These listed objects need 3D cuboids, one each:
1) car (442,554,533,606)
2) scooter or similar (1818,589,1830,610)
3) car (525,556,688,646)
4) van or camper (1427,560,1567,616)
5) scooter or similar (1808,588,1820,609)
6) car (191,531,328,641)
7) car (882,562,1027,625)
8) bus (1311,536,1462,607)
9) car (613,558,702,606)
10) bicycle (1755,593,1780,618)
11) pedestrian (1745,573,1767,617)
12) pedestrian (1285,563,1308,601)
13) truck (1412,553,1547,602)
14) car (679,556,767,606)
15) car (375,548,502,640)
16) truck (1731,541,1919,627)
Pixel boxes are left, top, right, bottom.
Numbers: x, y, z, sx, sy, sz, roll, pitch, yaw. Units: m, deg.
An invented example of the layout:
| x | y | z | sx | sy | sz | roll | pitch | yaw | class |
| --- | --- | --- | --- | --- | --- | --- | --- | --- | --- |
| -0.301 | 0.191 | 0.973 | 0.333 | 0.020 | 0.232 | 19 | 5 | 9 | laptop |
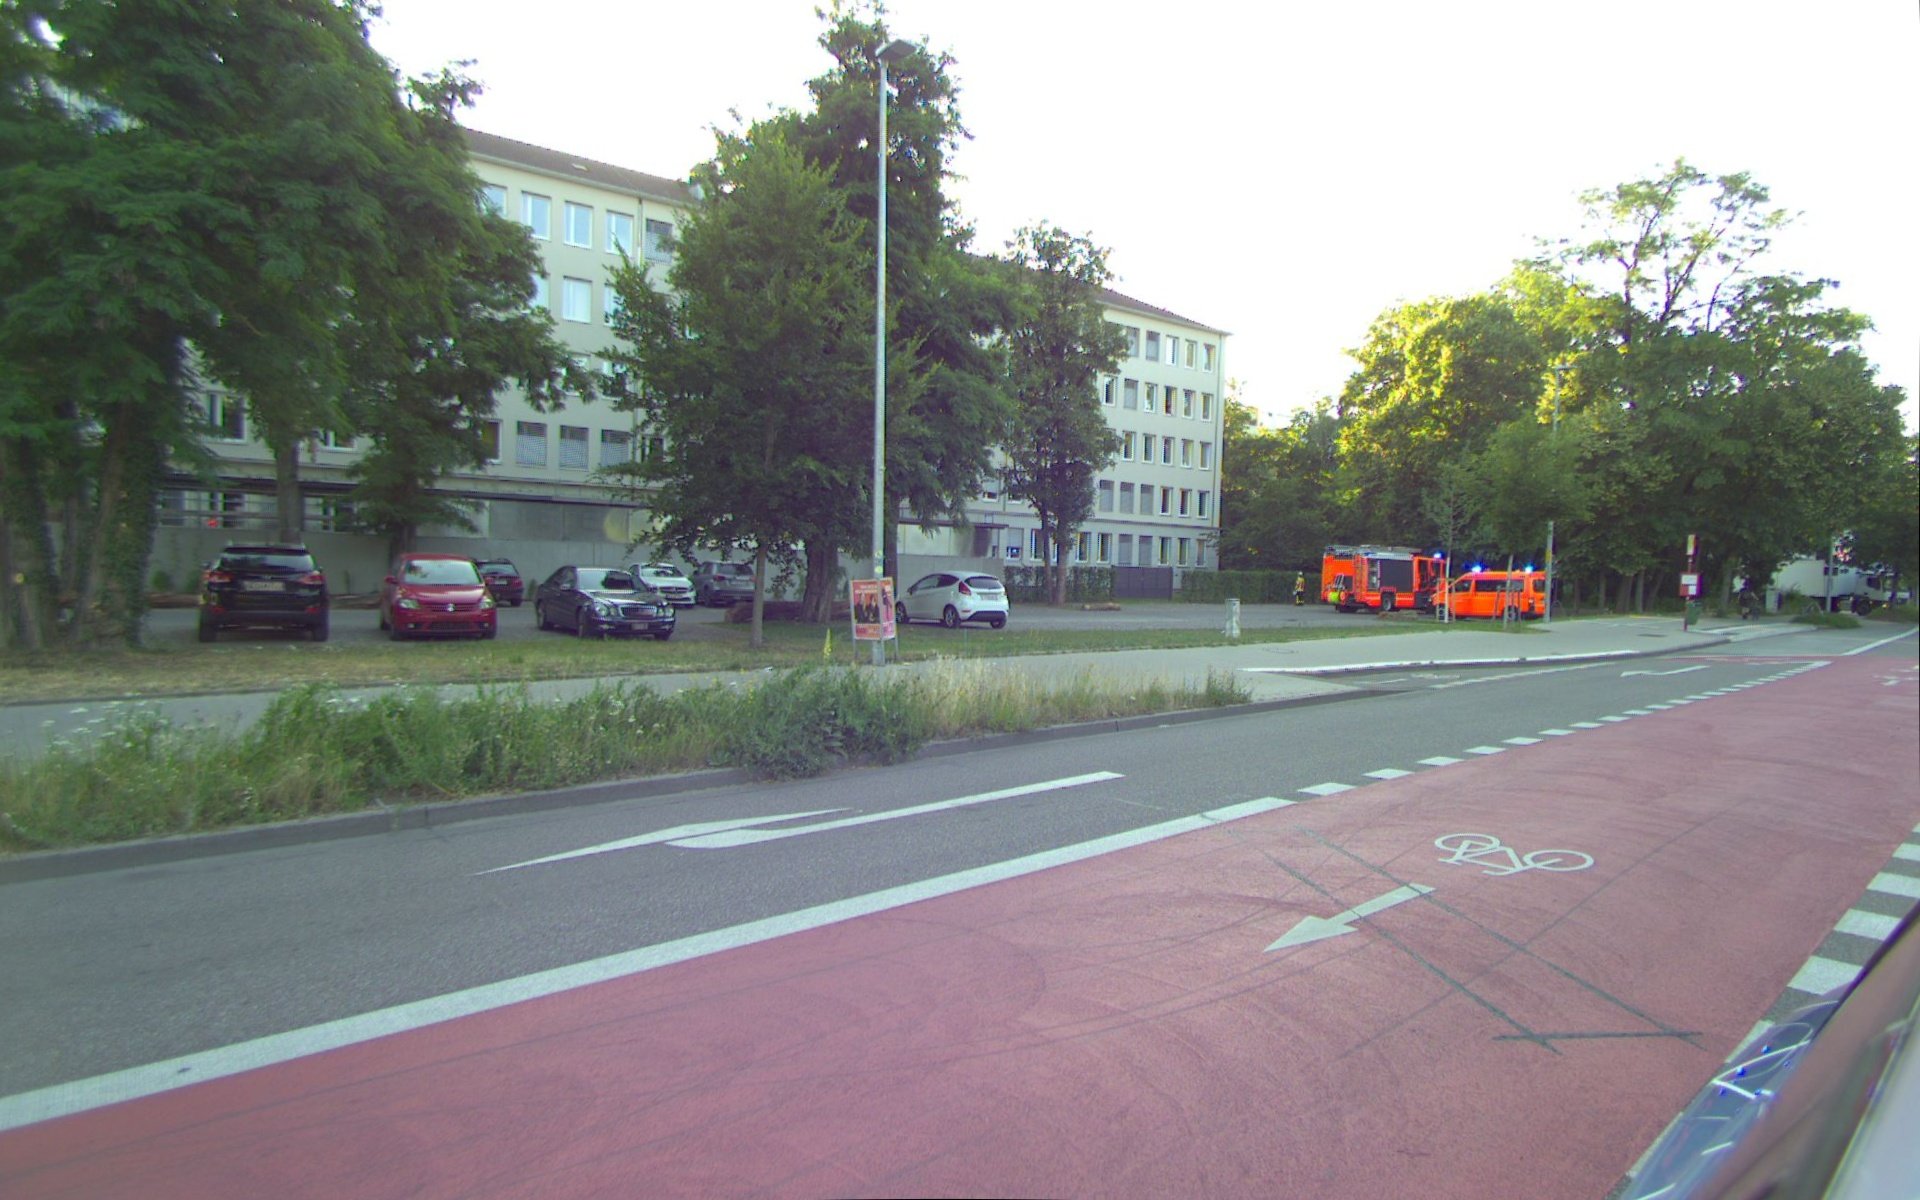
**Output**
| x | y | z | sx | sy | sz | roll | pitch | yaw | class |
| --- | --- | --- | --- | --- | --- | --- | --- | --- | --- |
| -14.459 | -0.623 | 30.879 | 1.866 | 1.460 | 4.001 | 0 | 1 | -35 | car |
| 54.822 | -0.051 | 64.203 | 0.482 | 1.297 | 1.123 | 5 | 3 | 41 | scooter or similar |
| -7.443 | -0.080 | 21.016 | 1.866 | 1.465 | 4.584 | -2 | 6 | -37 | car |
| 23.012 | -0.546 | 43.545 | 2.250 | 2.272 | 4.833 | 0 | 1 | -32 | van or camper |
| 53.376 | -0.086 | 63.278 | 0.482 | 1.297 | 1.213 | 5 | 3 | 41 | scooter or similar |
| -12.396 | -0.277 | 17.898 | 1.802 | 1.715 | 3.910 | 0 | 1 | -36 | car |
| -0.220 | -0.216 | 27.021 | 1.876 | 1.556 | 3.999 | 0 | 1 | -37 | car |
| 20.961 | -1.330 | 49.591 | 7.810 | 3.236 | 2.999 | 0 | 1 | -34 | bus |
| -10.139 | -0.617 | 33.735 | 1.798 | 1.494 | 4.002 | 0 | 1 | -33 | car |
| 38.264 | 0.227 | 47.960 | 0.829 | 1.111 | 1.942 | 3 | 2 | 38 | bicycle |
| 37.871 | -0.248 | 48.134 | 0.723 | 2.038 | 0.685 | 3 | 2 | 42 | pedestrian |
| 18.533 | -0.987 | 55.721 | 0.810 | 2.038 | 0.774 | 1 | 2 | -32 | pedestrian |
| 36.669 | -1.693 | 71.861 | 2.703 | 3.250 | 8.683 | 1 | 2 | -24 | truck |
| -8.349 | -0.681 | 35.430 | 1.875 | 1.637 | 4.004 | -1 | 2 | -31 | car |
| -10.152 | -0.190 | 19.556 | 1.751 | 1.580 | 4.003 | 0 | 2 | -34 | car |
| 64.008 | -1.299 | 74.425 | 5.077 | 5.642 | 15.042 | 2 | 2 | 10 | truck |
